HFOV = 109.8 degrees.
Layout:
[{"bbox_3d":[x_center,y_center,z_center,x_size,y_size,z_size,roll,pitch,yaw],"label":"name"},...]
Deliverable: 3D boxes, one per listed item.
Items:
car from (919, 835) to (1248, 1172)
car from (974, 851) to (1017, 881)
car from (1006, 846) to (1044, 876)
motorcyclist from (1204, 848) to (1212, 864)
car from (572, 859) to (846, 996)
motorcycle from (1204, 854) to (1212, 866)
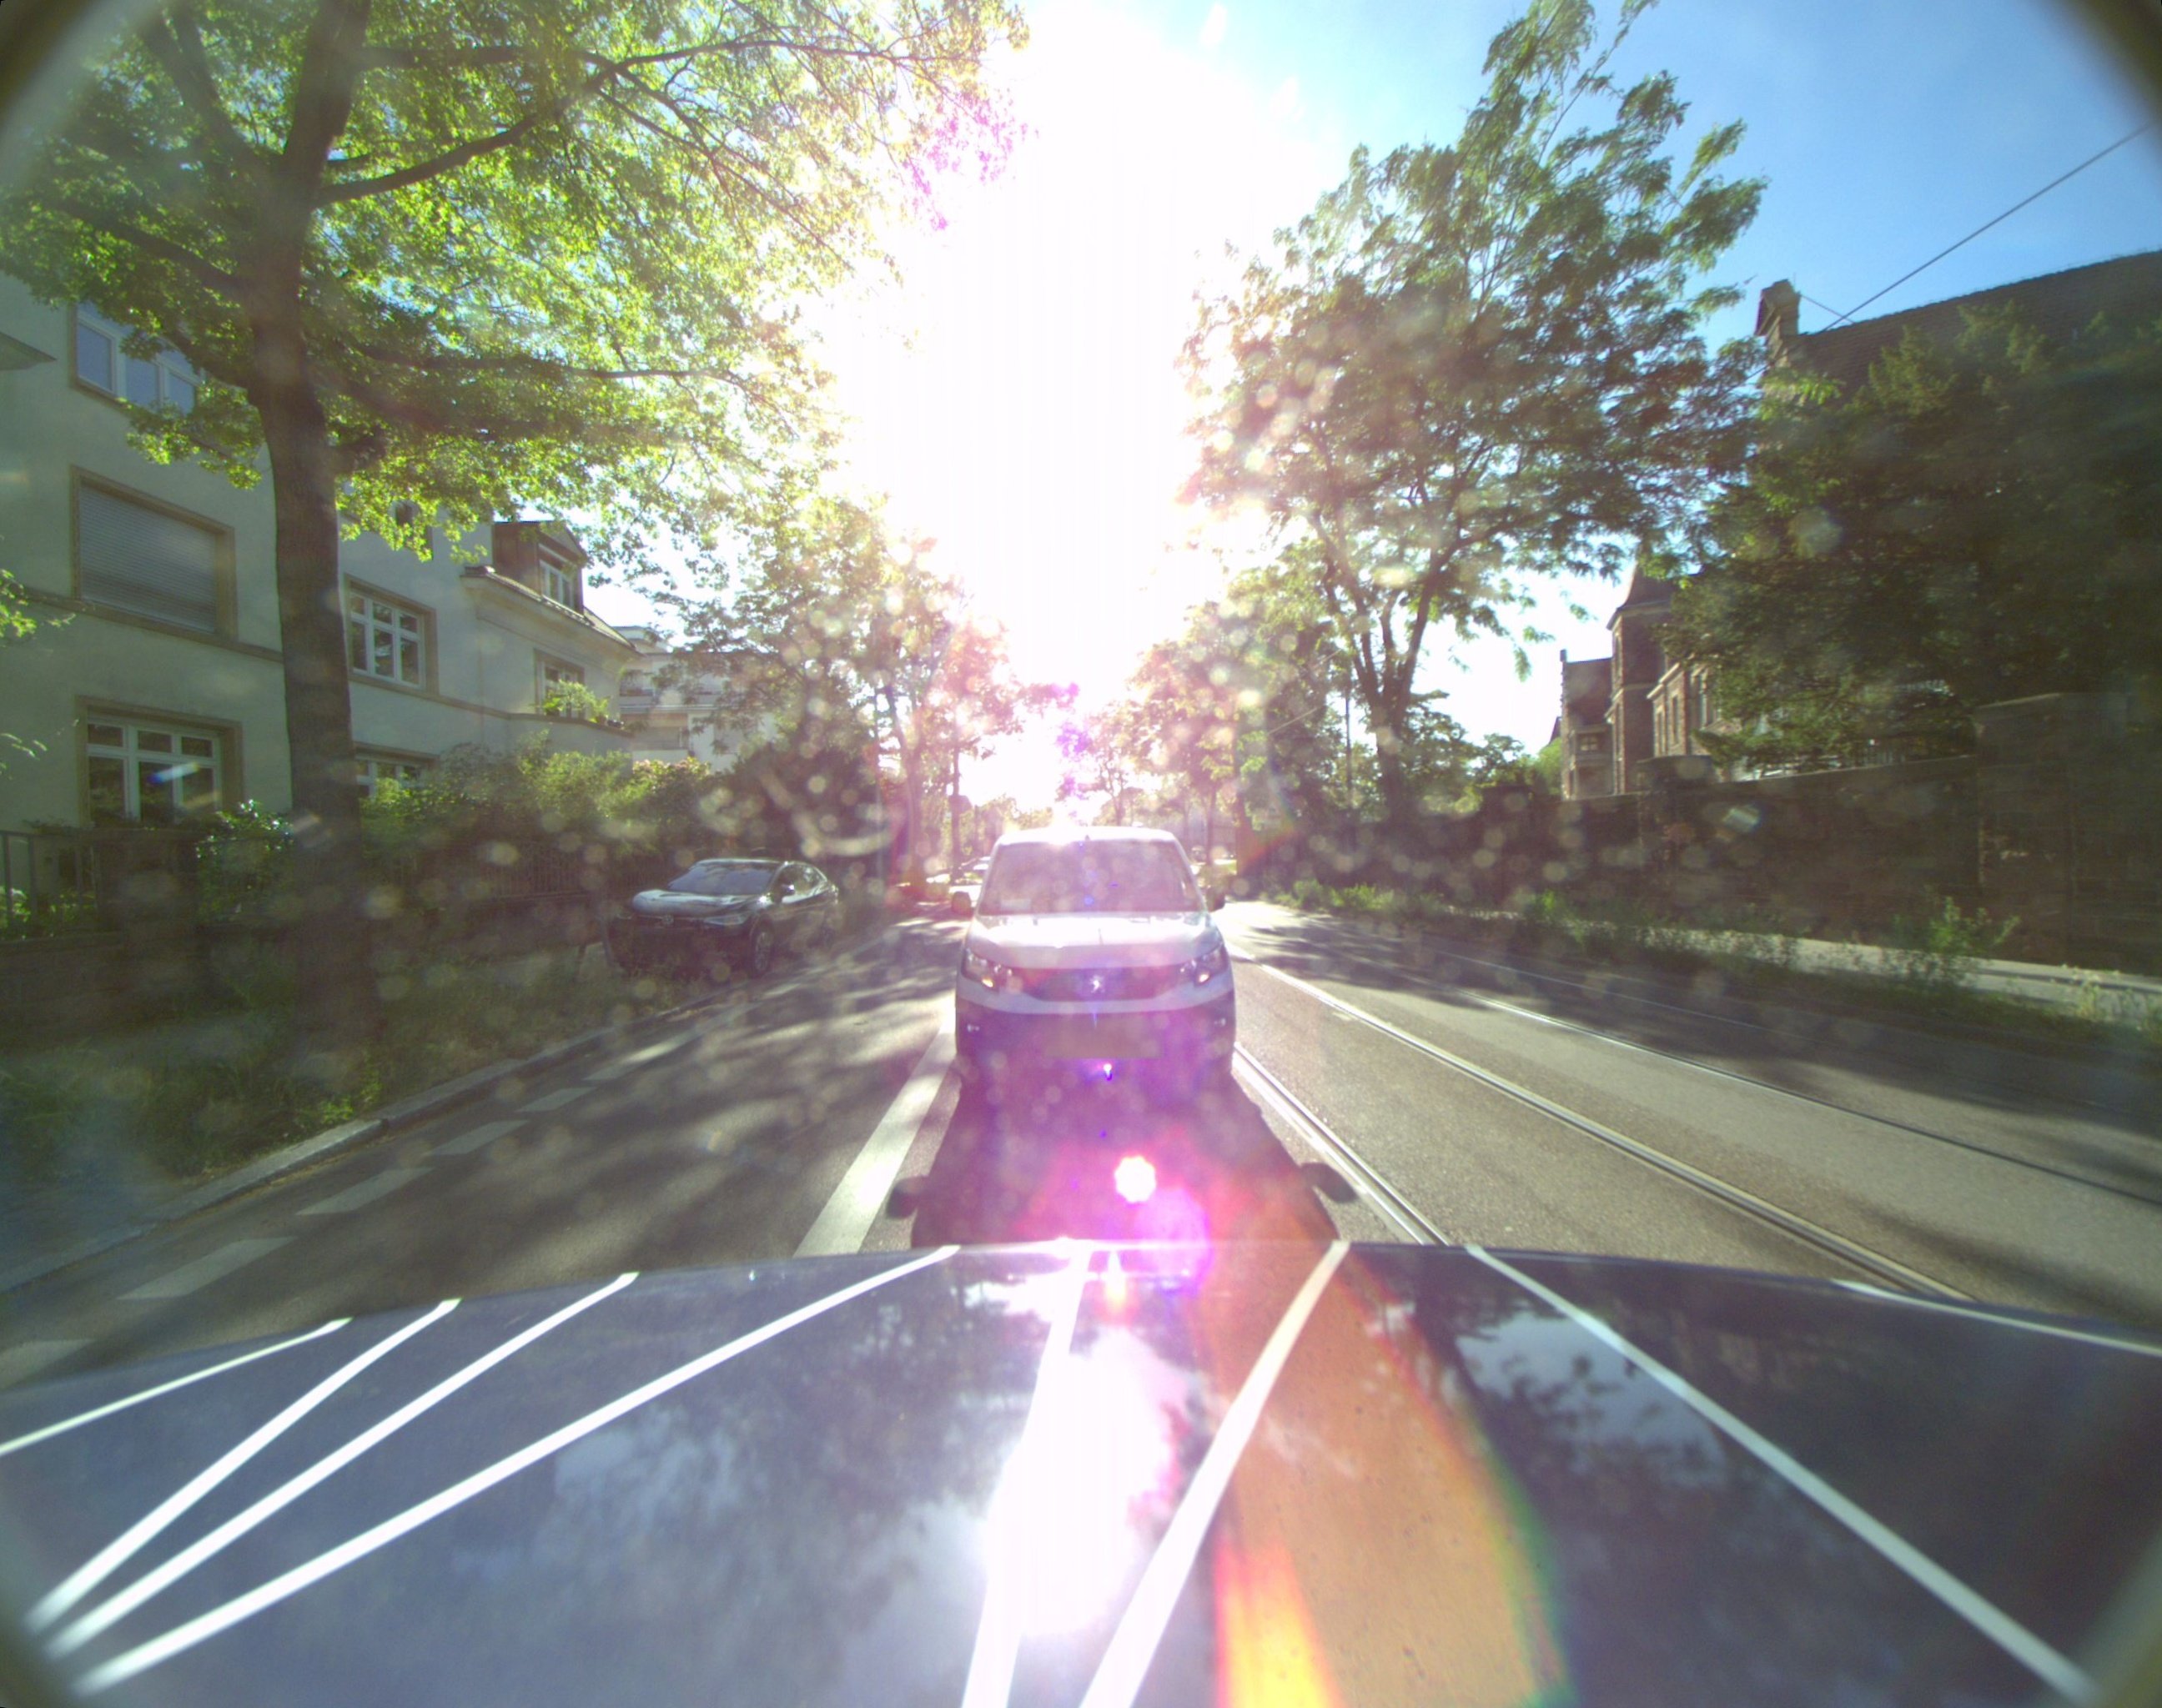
[{"bbox_3d":[0.006,0.807,6.137,1.768,1.812,3.999,-1,0,0],"label":"car"},{"bbox_3d":[-5.048,0.667,45.221,1.823,1.630,4.001,-2,0,4],"label":"car"},{"bbox_3d":[-3.797,0.465,51.967,2.129,1.884,4.746,-2,0,1],"label":"car"},{"bbox_3d":[11.626,0.186,69.452,0.684,1.432,0.447,-1,1,13],"label":"motorcyclist"},{"bbox_3d":[-5.255,0.938,11.547,1.999,1.665,4.380,1,-1,0],"label":"car"},{"bbox_3d":[11.595,0.516,69.397,0.610,1.087,1.858,-1,0,13],"label":"motorcycle"}]
